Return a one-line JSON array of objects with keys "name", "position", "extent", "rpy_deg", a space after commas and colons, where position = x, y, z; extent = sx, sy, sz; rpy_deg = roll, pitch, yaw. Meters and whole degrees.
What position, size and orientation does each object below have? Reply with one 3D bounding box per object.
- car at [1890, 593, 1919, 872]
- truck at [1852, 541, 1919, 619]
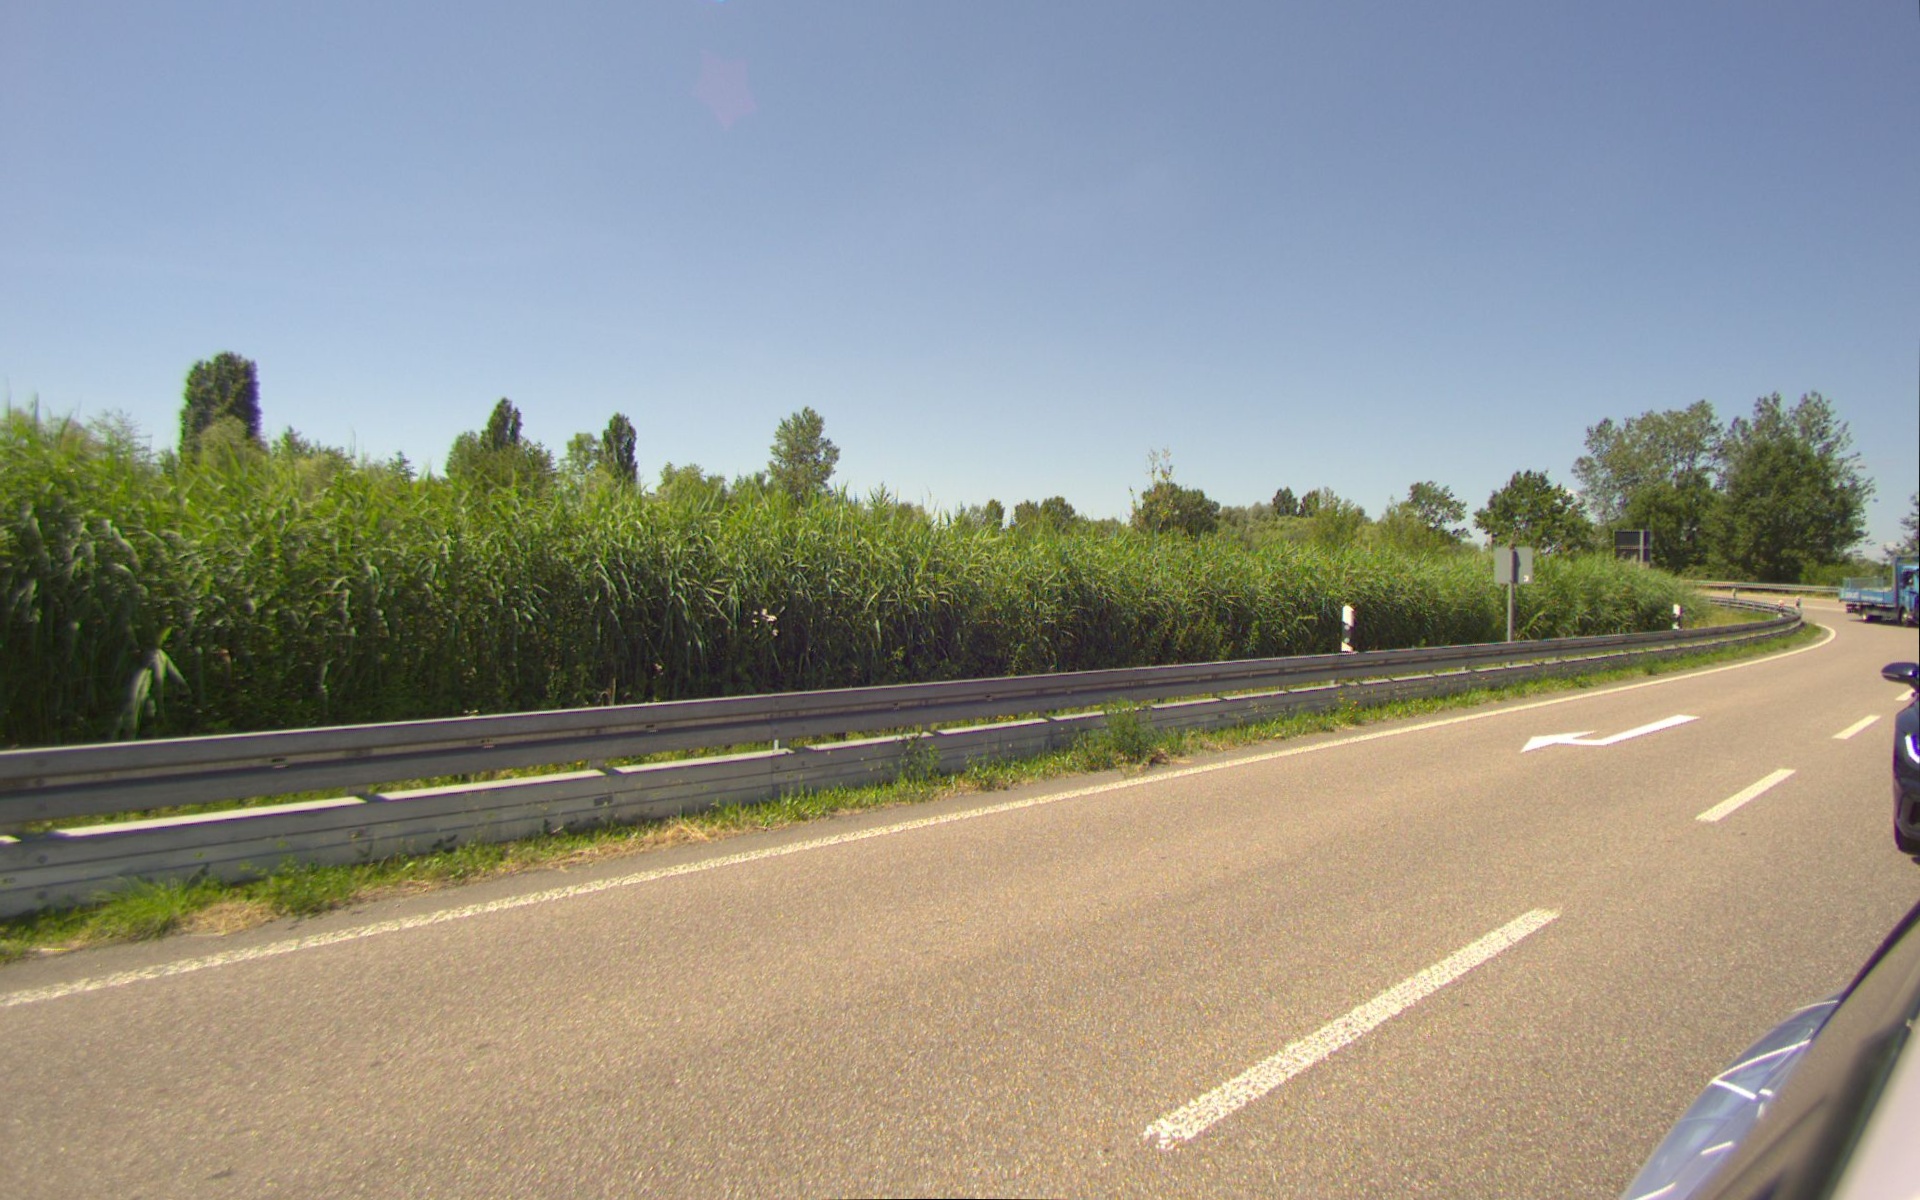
[{"name": "car", "position": [6.918, 0.671, 5.943], "extent": [3.931, 1.427, 1.759], "rpy_deg": [-1, 1, -41]}, {"name": "truck", "position": [41.046, -0.799, 43.064], "extent": [2.554, 3.108, 8.990], "rpy_deg": [1, 0, 28]}]
